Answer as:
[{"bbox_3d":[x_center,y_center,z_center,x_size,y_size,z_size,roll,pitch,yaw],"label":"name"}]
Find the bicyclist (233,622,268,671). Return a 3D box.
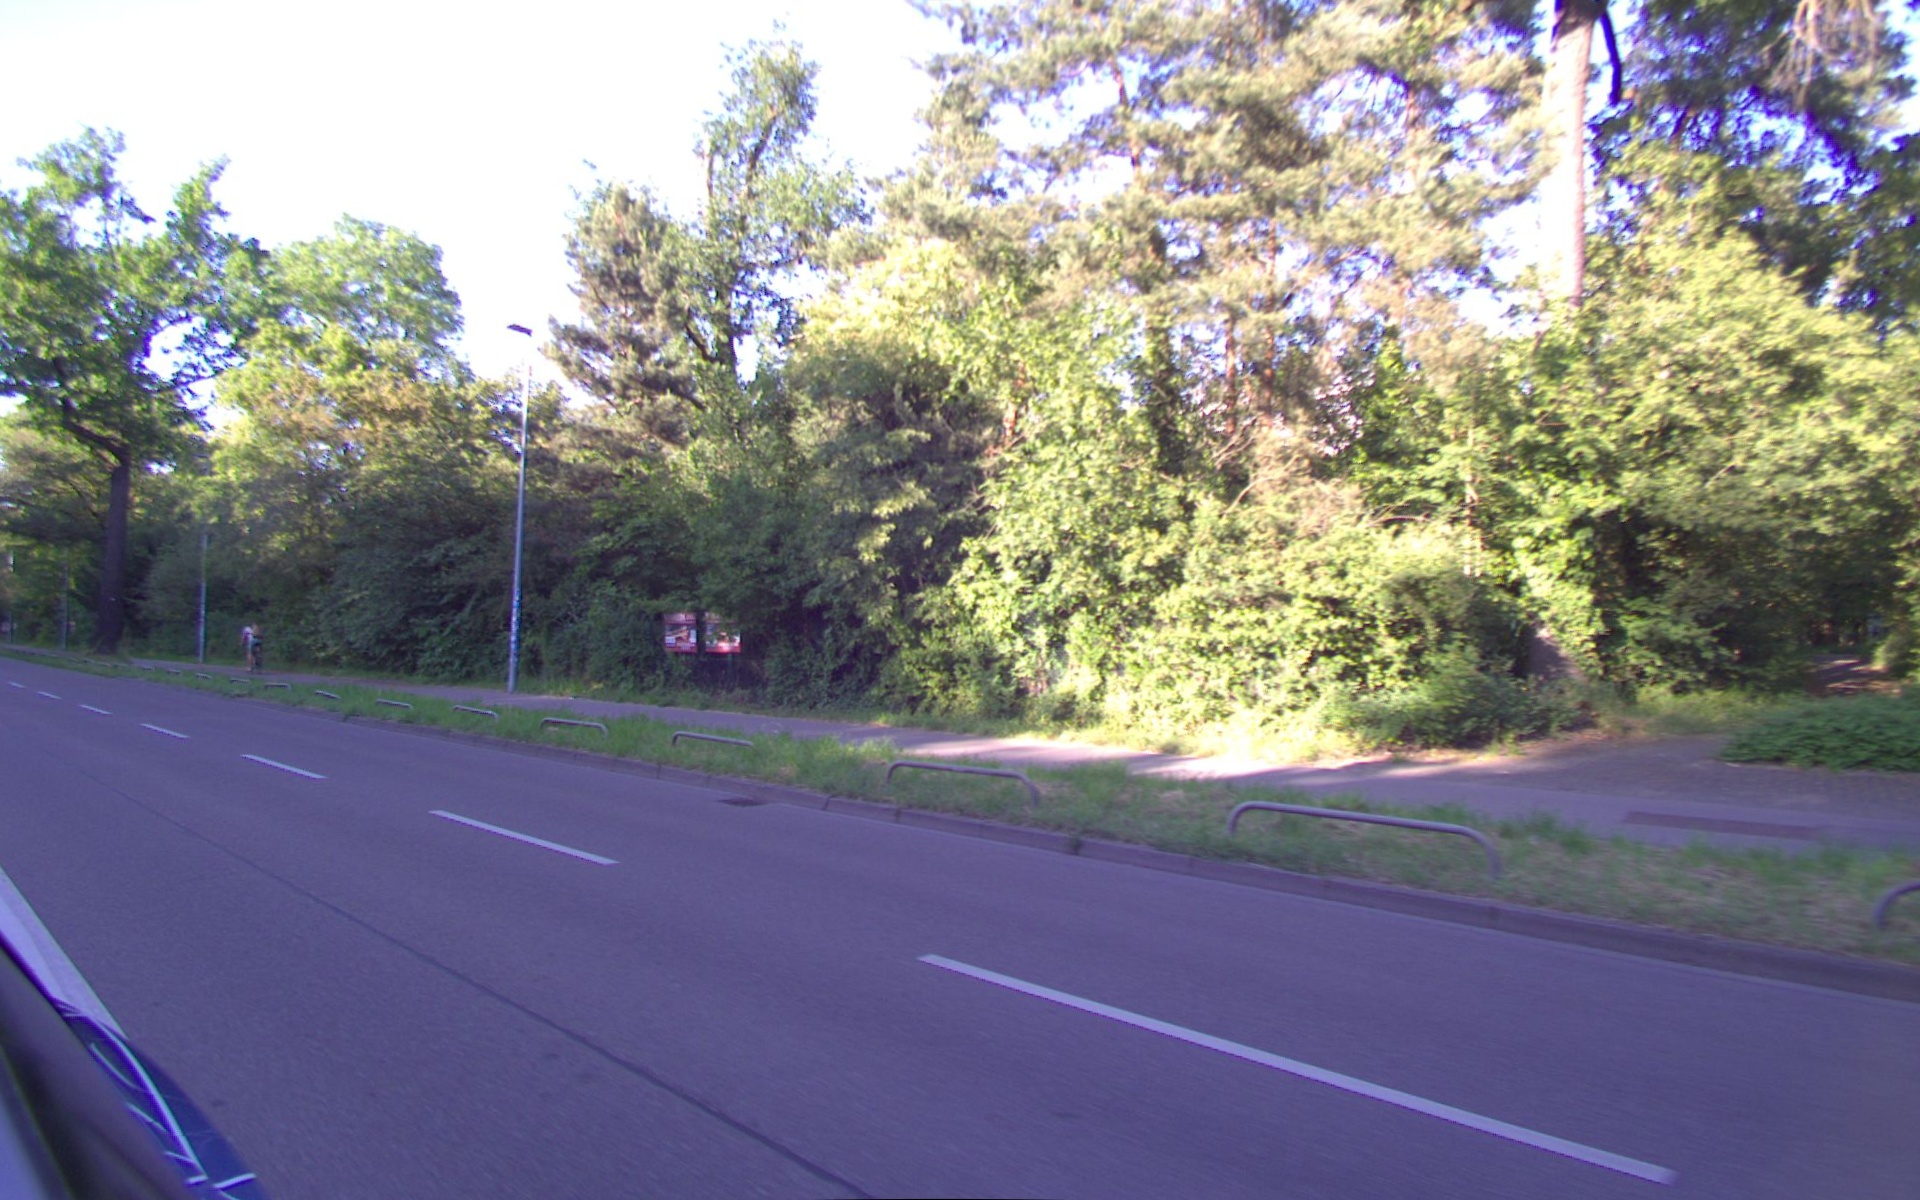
[{"bbox_3d":[-23.711,1.540,33.839,1.142,1.570,0.705,-1,-1,41],"label":"bicyclist"}]

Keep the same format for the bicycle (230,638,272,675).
[{"bbox_3d":[-23.710,1.877,33.837,1.992,1.156,0.705,0,-1,41],"label":"bicycle"}]
